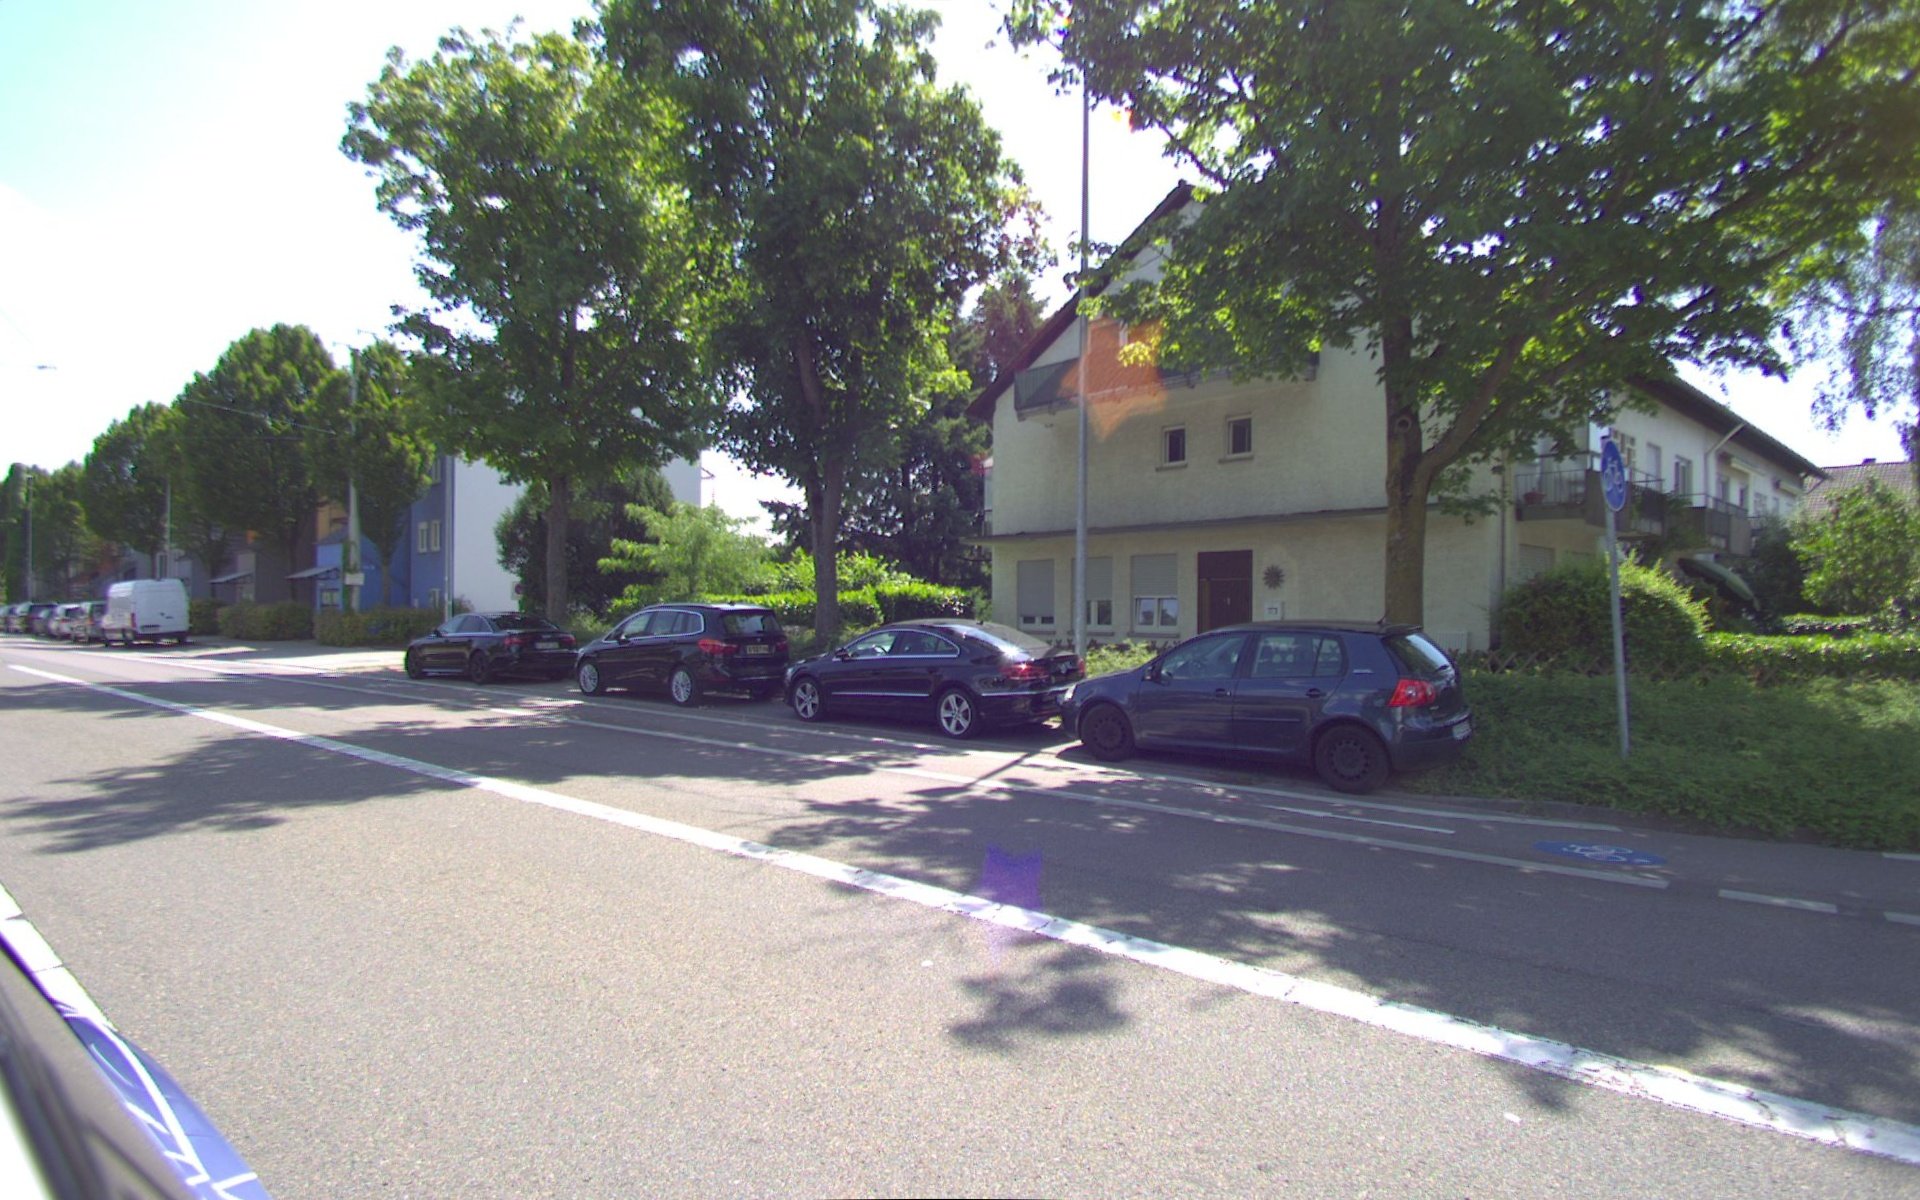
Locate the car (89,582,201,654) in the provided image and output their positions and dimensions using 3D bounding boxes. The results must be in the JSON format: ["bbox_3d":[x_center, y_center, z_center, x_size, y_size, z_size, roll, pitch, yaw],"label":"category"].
[{"bbox_3d":[-33.882,0.698,41.953,7.031,2.670,2.300,-1,2,41],"label":"car"}]

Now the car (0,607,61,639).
[{"bbox_3d":[-52.603,1.297,57.200,4.879,1.729,1.735,-1,-2,37],"label":"car"}]

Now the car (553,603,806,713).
[{"bbox_3d":[-4.853,0.886,17.167,4.632,1.616,1.757,-1,0,39],"label":"car"}]

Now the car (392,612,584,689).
[{"bbox_3d":[-10.067,0.992,21.435,4.798,1.467,1.757,-1,-1,39],"label":"car"}]

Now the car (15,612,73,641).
[{"bbox_3d":[-48.637,1.403,53.714,4.082,1.482,1.583,0,-1,38],"label":"car"}]

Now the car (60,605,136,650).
[{"bbox_3d":[-40.014,1.227,46.931,5.358,1.909,1.788,-1,1,40],"label":"car"}]

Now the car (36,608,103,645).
[{"bbox_3d":[-44.485,1.304,50.507,4.898,1.765,1.699,0,-2,39],"label":"car"}]

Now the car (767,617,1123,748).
[{"bbox_3d":[-0.337,0.955,13.451,4.691,1.383,1.758,-1,1,39],"label":"car"}]

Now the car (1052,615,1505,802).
[{"bbox_3d":[3.103,0.921,10.305,4.044,1.492,1.757,-1,0,40],"label":"car"}]

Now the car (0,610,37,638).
[{"bbox_3d":[-56.873,1.411,60.575,4.278,1.629,1.640,0,-1,37],"label":"car"}]

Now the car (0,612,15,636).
[{"bbox_3d":[-61.633,1.518,64.051,4.953,1.457,1.726,-1,0,36],"label":"car"}]
